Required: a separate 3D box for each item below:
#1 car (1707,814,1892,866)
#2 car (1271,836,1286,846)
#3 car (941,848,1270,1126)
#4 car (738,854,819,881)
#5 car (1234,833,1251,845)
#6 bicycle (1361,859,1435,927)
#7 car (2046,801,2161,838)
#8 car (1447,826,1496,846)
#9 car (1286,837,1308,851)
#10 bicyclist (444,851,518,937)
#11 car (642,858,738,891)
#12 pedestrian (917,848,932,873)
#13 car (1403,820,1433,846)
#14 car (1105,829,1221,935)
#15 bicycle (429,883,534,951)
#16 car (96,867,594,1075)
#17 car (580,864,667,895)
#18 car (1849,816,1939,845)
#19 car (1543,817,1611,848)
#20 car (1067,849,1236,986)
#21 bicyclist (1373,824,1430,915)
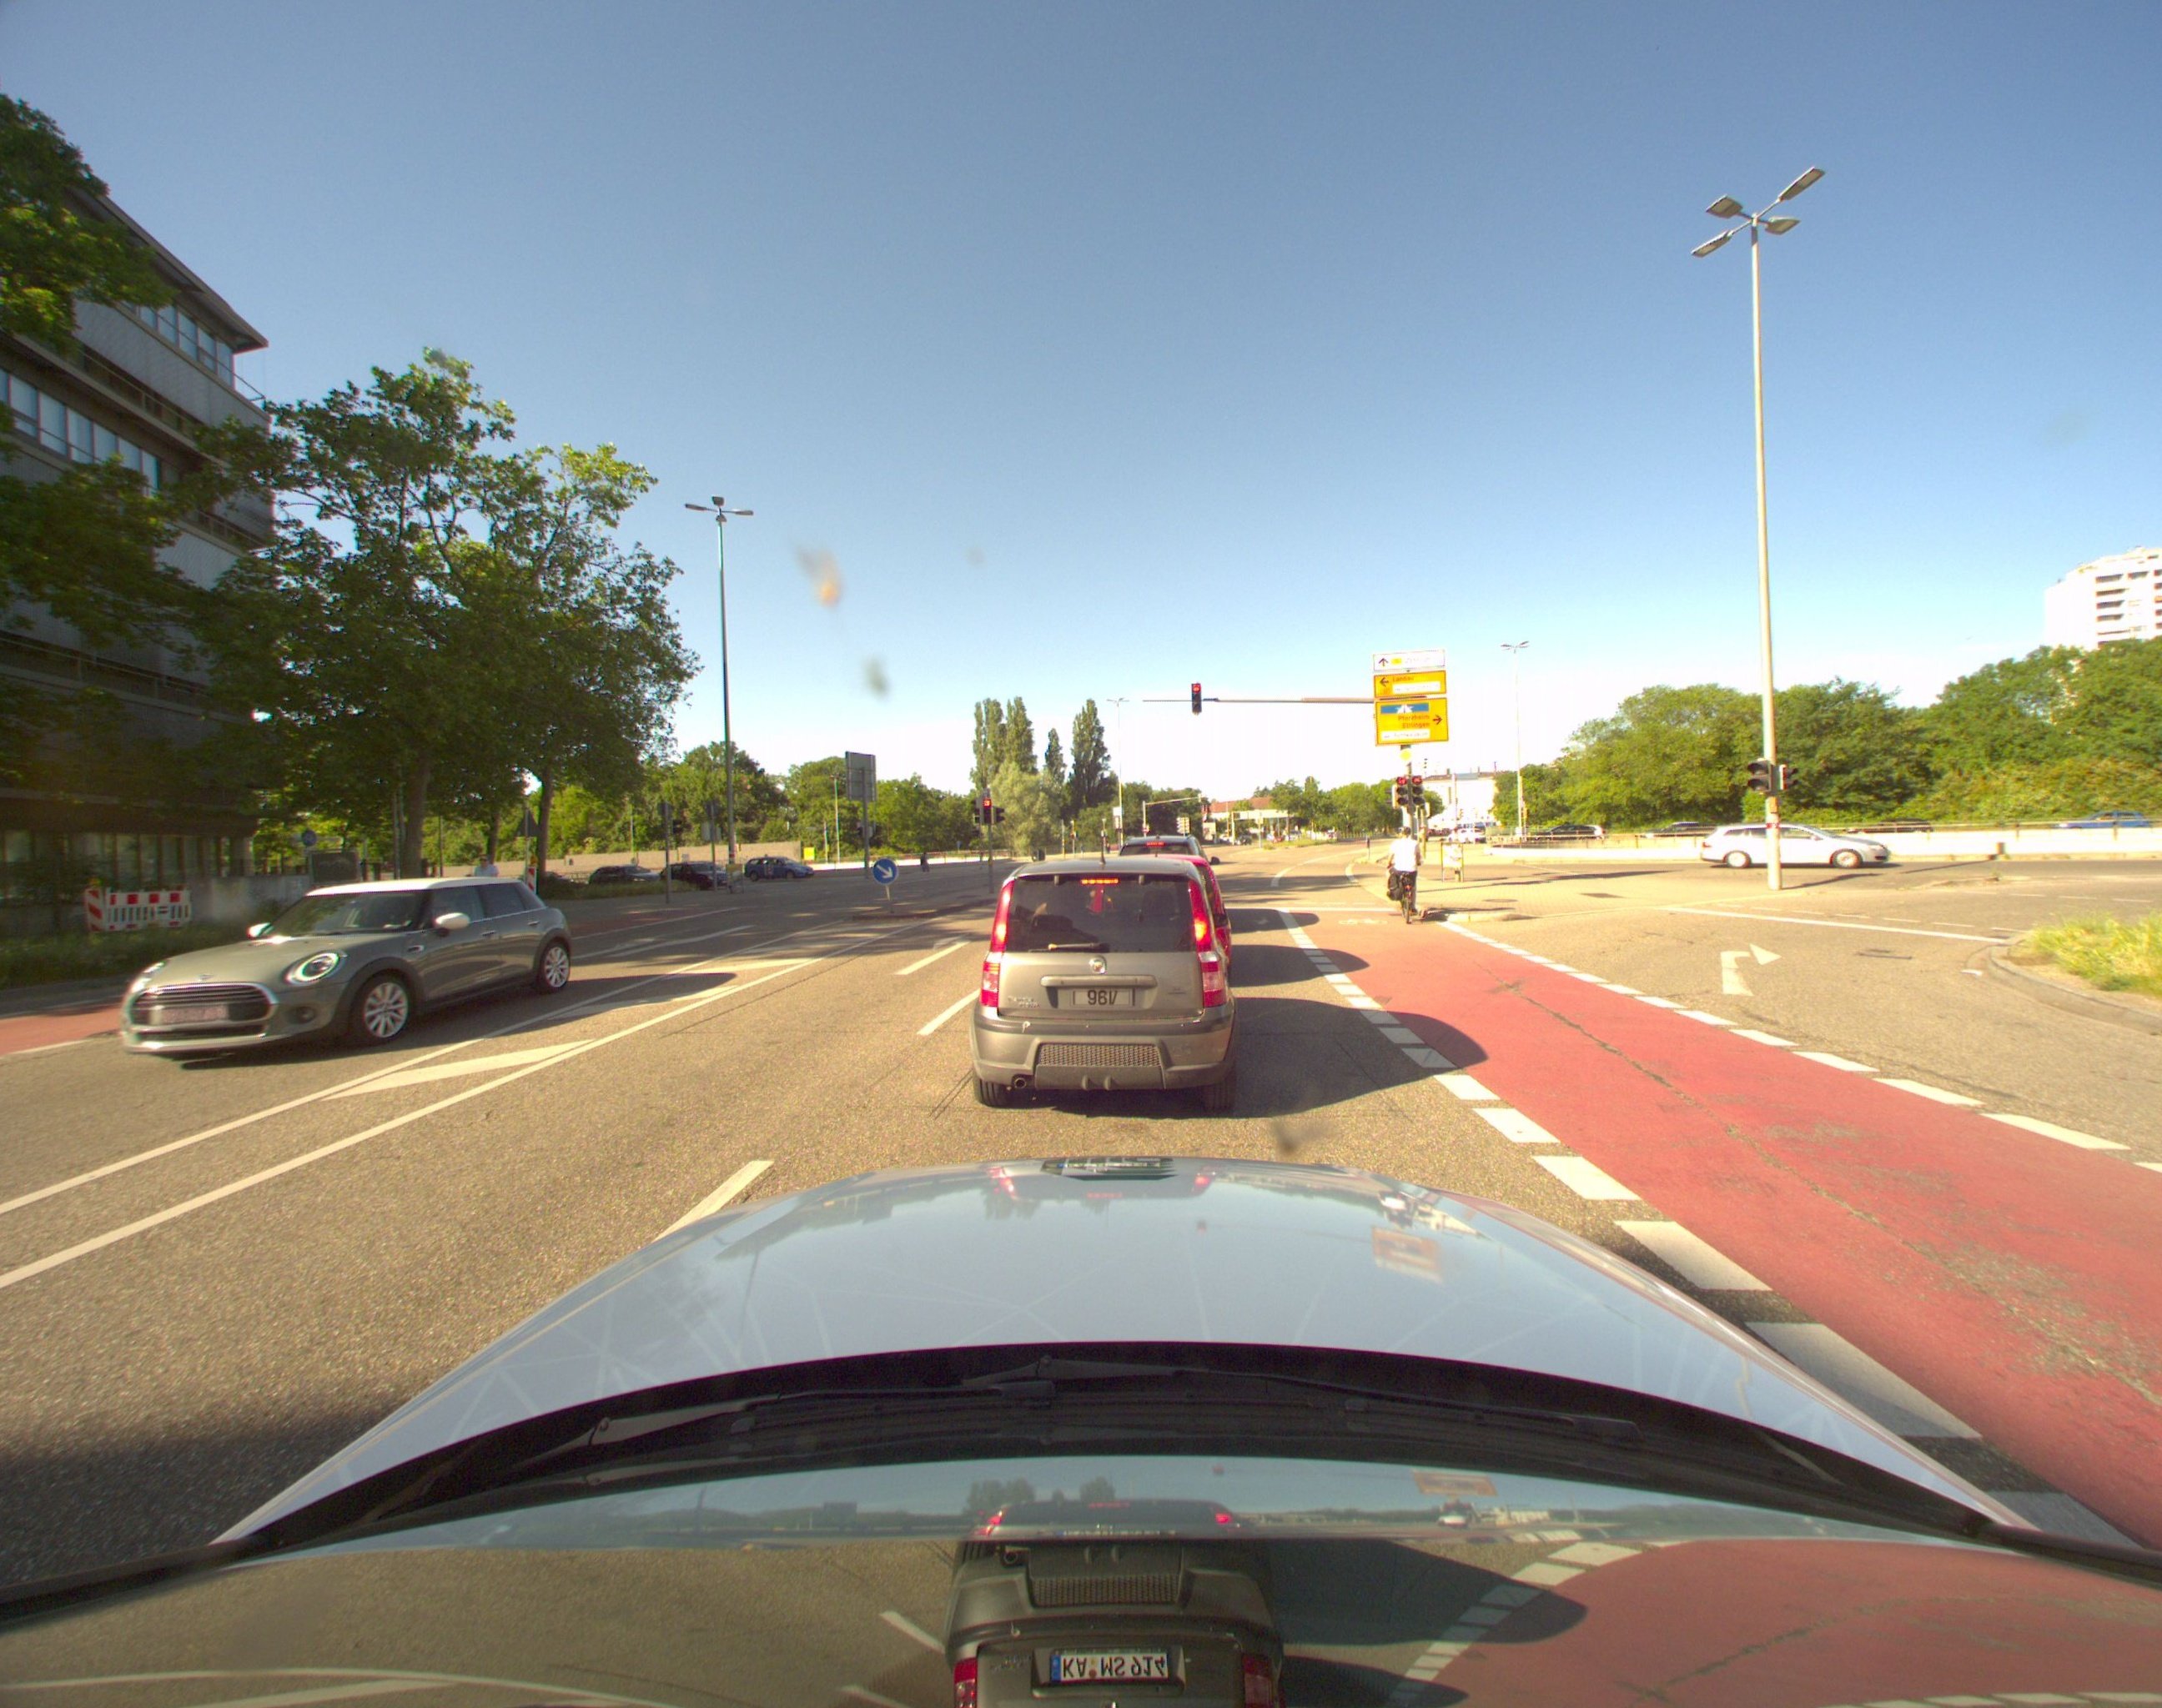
[{"bbox_3d":[22.593,-0.447,25.723,1.767,1.493,4.295,-3,2,-45],"label":"car"},{"bbox_3d":[38.100,-2.492,156.748,1.995,1.855,4.912,-2,-2,22],"label":"car"},{"bbox_3d":[0.315,0.706,6.482,1.811,1.489,4.006,0,1,5],"label":"car"},{"bbox_3d":[-18.860,0.830,50.793,4.403,1.438,1.833,-2,0,15],"label":"car"},{"bbox_3d":[28.107,-2.623,141.554,1.996,1.855,4.453,-2,-2,21],"label":"car"},{"bbox_3d":[6.144,0.700,15.673,0.791,1.110,2.417,0,1,34],"label":"bicycle"},{"bbox_3d":[60.902,-2.011,48.384,4.205,1.855,2.032,-2,-2,37],"label":"car"},{"bbox_3d":[37.383,-1.705,78.004,2.000,1.750,3.973,0,-2,-19],"label":"car"},{"bbox_3d":[30.379,-1.399,114.320,1.994,1.855,4.914,-2,-2,26],"label":"car"},{"bbox_3d":[-12.524,0.797,17.031,0.686,1.701,1.195,-2,0,-8],"label":"bicyclist"},{"bbox_3d":[-19.637,1.040,40.871,4.396,1.438,1.836,-2,1,24],"label":"car"},{"bbox_3d":[-10.369,0.448,53.969,0.684,1.538,1.365,-1,-4,0],"label":"pedestrian"},{"bbox_3d":[37.925,-2.349,91.756,2.239,2.607,4.902,-1,-2,12],"label":"car"},{"bbox_3d":[1.775,0.443,16.191,1.857,1.790,4.428,0,1,11],"label":"car"},{"bbox_3d":[-12.513,1.270,17.097,0.686,1.202,2.321,-2,1,-7],"label":"bicycle"},{"bbox_3d":[-6.972,0.953,8.399,1.683,1.456,3.908,-2,1,-4],"label":"car"},{"bbox_3d":[-24.954,1.391,44.429,4.396,1.438,1.836,-2,1,24],"label":"car"},{"bbox_3d":[53.791,-1.526,54.004,3.948,1.662,2.013,-2,-2,38],"label":"car"},{"bbox_3d":[36.396,-1.553,59.745,3.948,2.014,2.012,-3,-2,40],"label":"car"},{"bbox_3d":[0.929,0.682,10.828,1.811,1.479,4.005,0,0,5],"label":"car"},{"bbox_3d":[6.222,0.274,15.792,0.791,1.705,1.092,-1,1,34],"label":"bicyclist"}]
